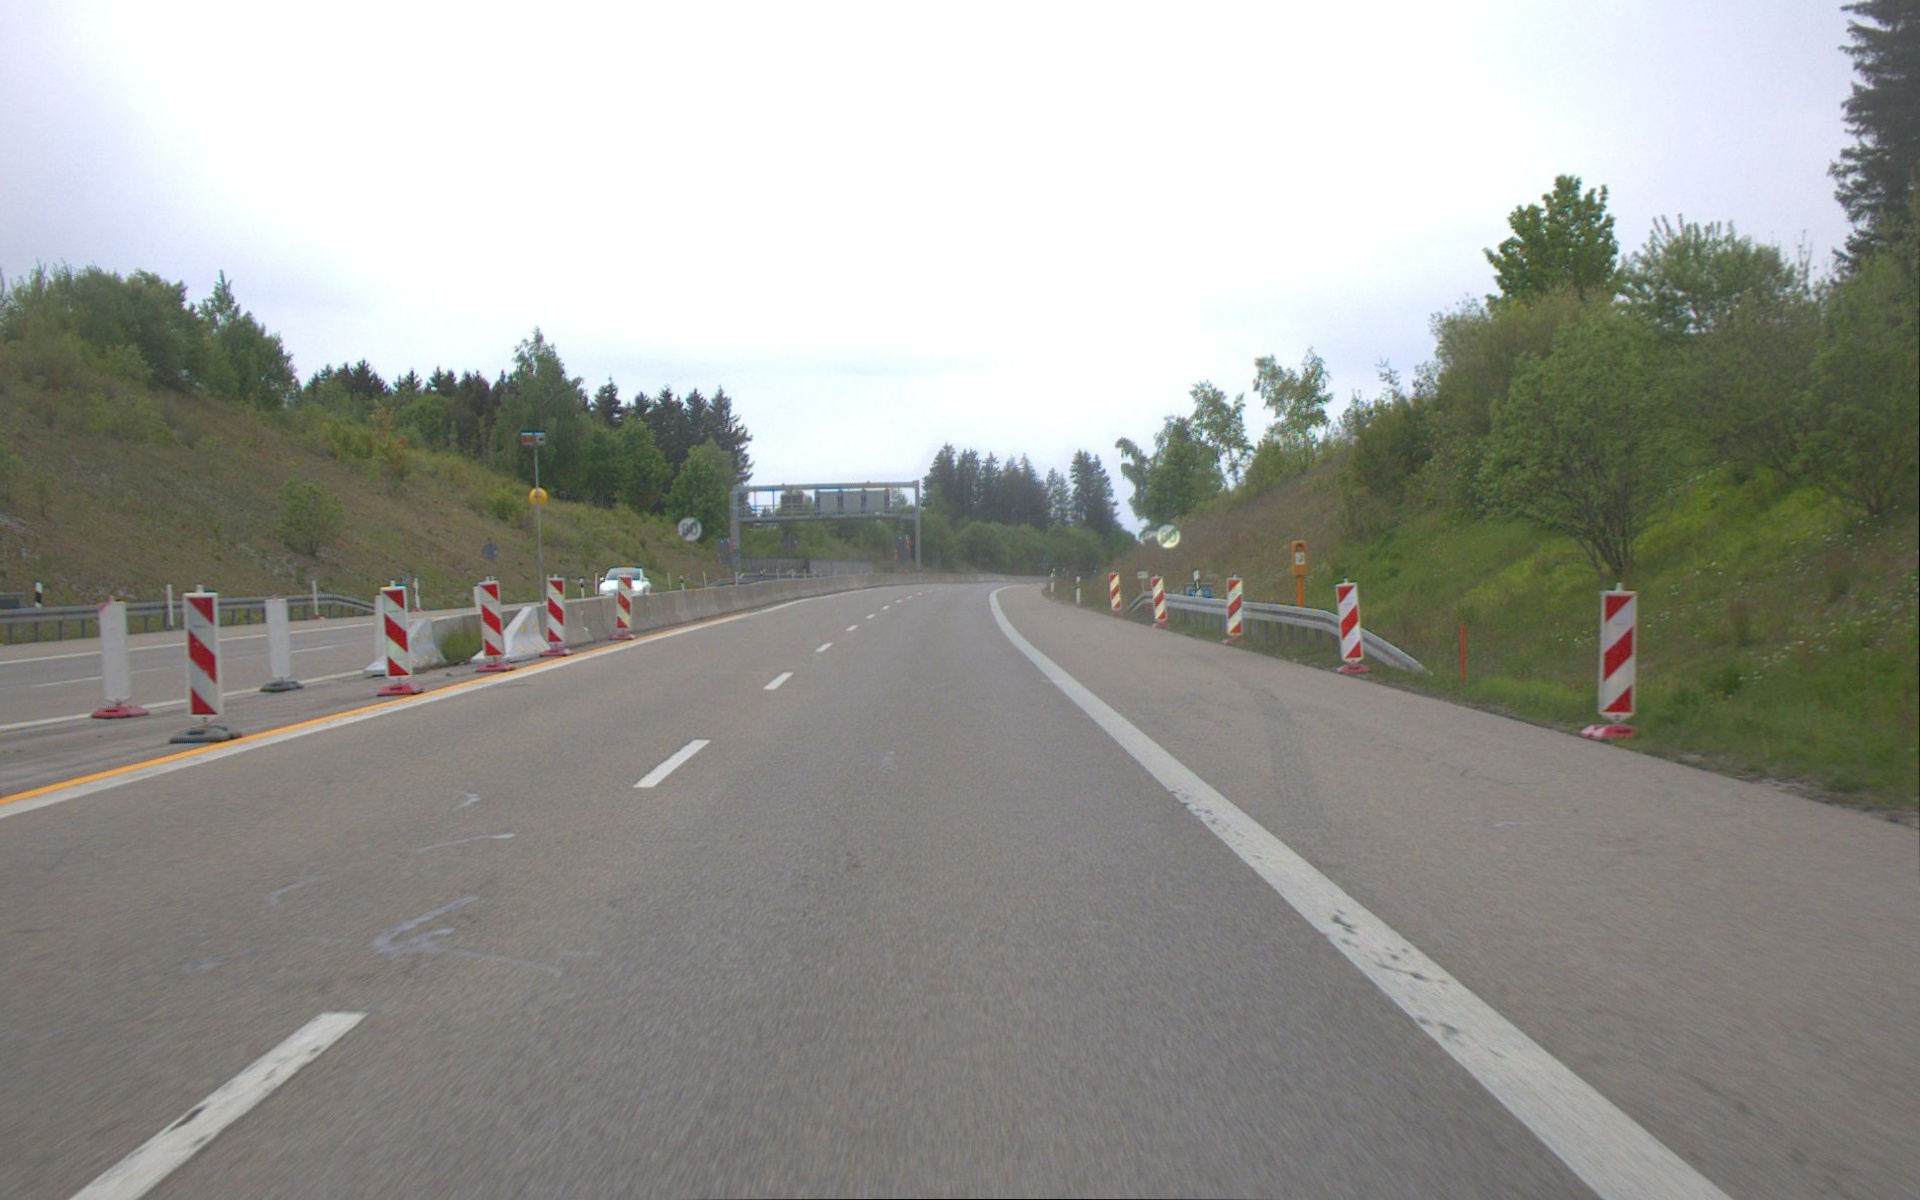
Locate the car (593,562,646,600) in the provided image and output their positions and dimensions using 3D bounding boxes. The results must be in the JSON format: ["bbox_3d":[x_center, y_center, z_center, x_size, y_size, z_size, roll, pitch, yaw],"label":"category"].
[{"bbox_3d":[-14.811,-0.825,149.625,1.914,1.595,4.167,-1,0,0],"label":"car"}]
